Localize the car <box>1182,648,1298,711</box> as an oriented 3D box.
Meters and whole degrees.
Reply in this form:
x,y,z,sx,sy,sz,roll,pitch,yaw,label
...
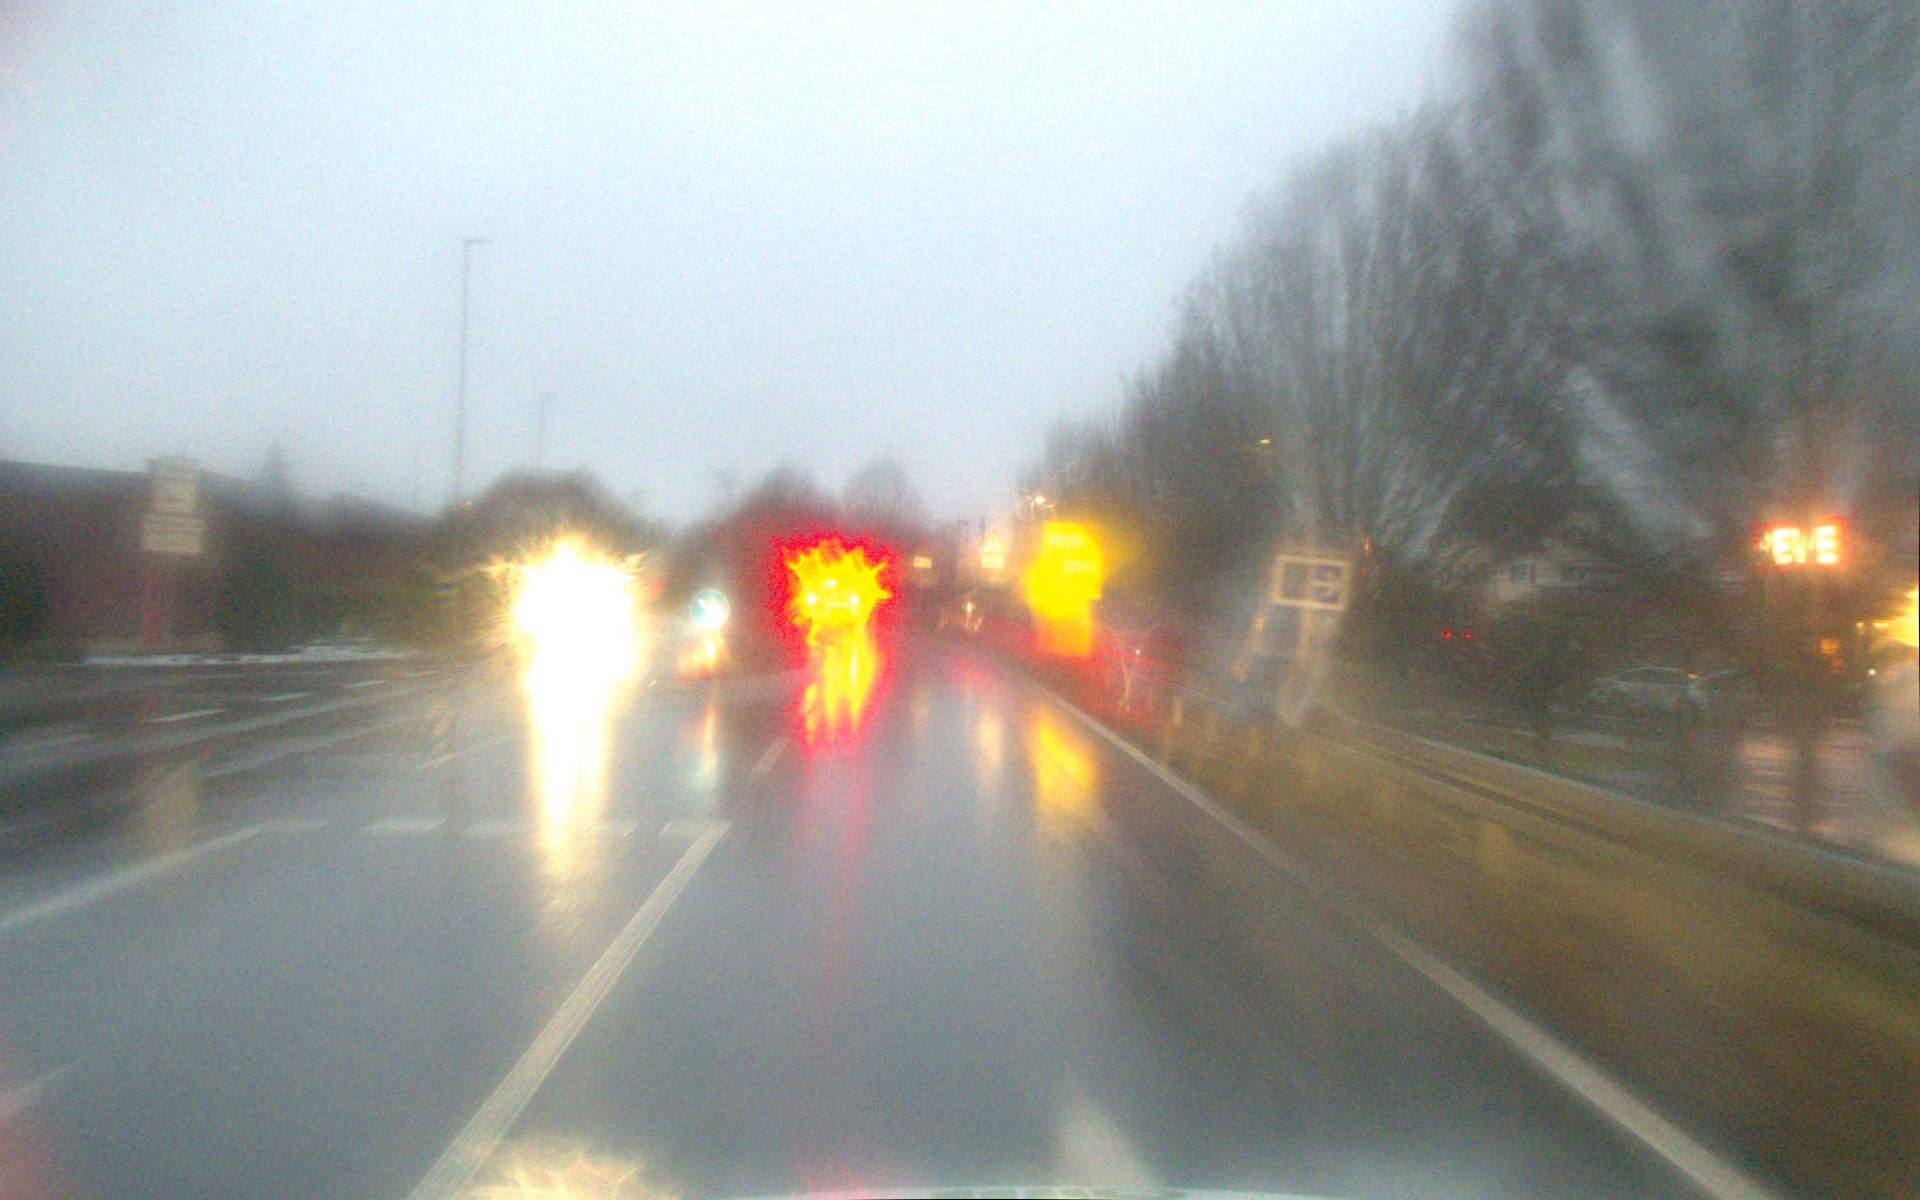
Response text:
x,y,z,sx,sy,sz,roll,pitch,yaw,label
9.854,2.814,58.489,3.902,2.049,2.001,2,-3,7,car

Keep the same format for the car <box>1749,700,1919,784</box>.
x,y,z,sx,sy,sz,roll,pitch,yaw,label
22.884,3.639,42.792,4.273,1.952,2.095,0,-4,32,car

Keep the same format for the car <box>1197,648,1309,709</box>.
x,y,z,sx,sy,sz,roll,pitch,yaw,label
10.773,2.901,61.021,3.902,2.049,2.001,2,-3,7,car

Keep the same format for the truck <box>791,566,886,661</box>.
x,y,z,sx,sy,sz,roll,pitch,yaw,label
-4.172,0.382,55.747,2.486,2.919,5.907,3,0,-11,truck

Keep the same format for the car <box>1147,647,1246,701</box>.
x,y,z,sx,sy,sz,roll,pitch,yaw,label
9.706,3.066,68.063,3.902,2.049,2.001,2,-3,7,car
